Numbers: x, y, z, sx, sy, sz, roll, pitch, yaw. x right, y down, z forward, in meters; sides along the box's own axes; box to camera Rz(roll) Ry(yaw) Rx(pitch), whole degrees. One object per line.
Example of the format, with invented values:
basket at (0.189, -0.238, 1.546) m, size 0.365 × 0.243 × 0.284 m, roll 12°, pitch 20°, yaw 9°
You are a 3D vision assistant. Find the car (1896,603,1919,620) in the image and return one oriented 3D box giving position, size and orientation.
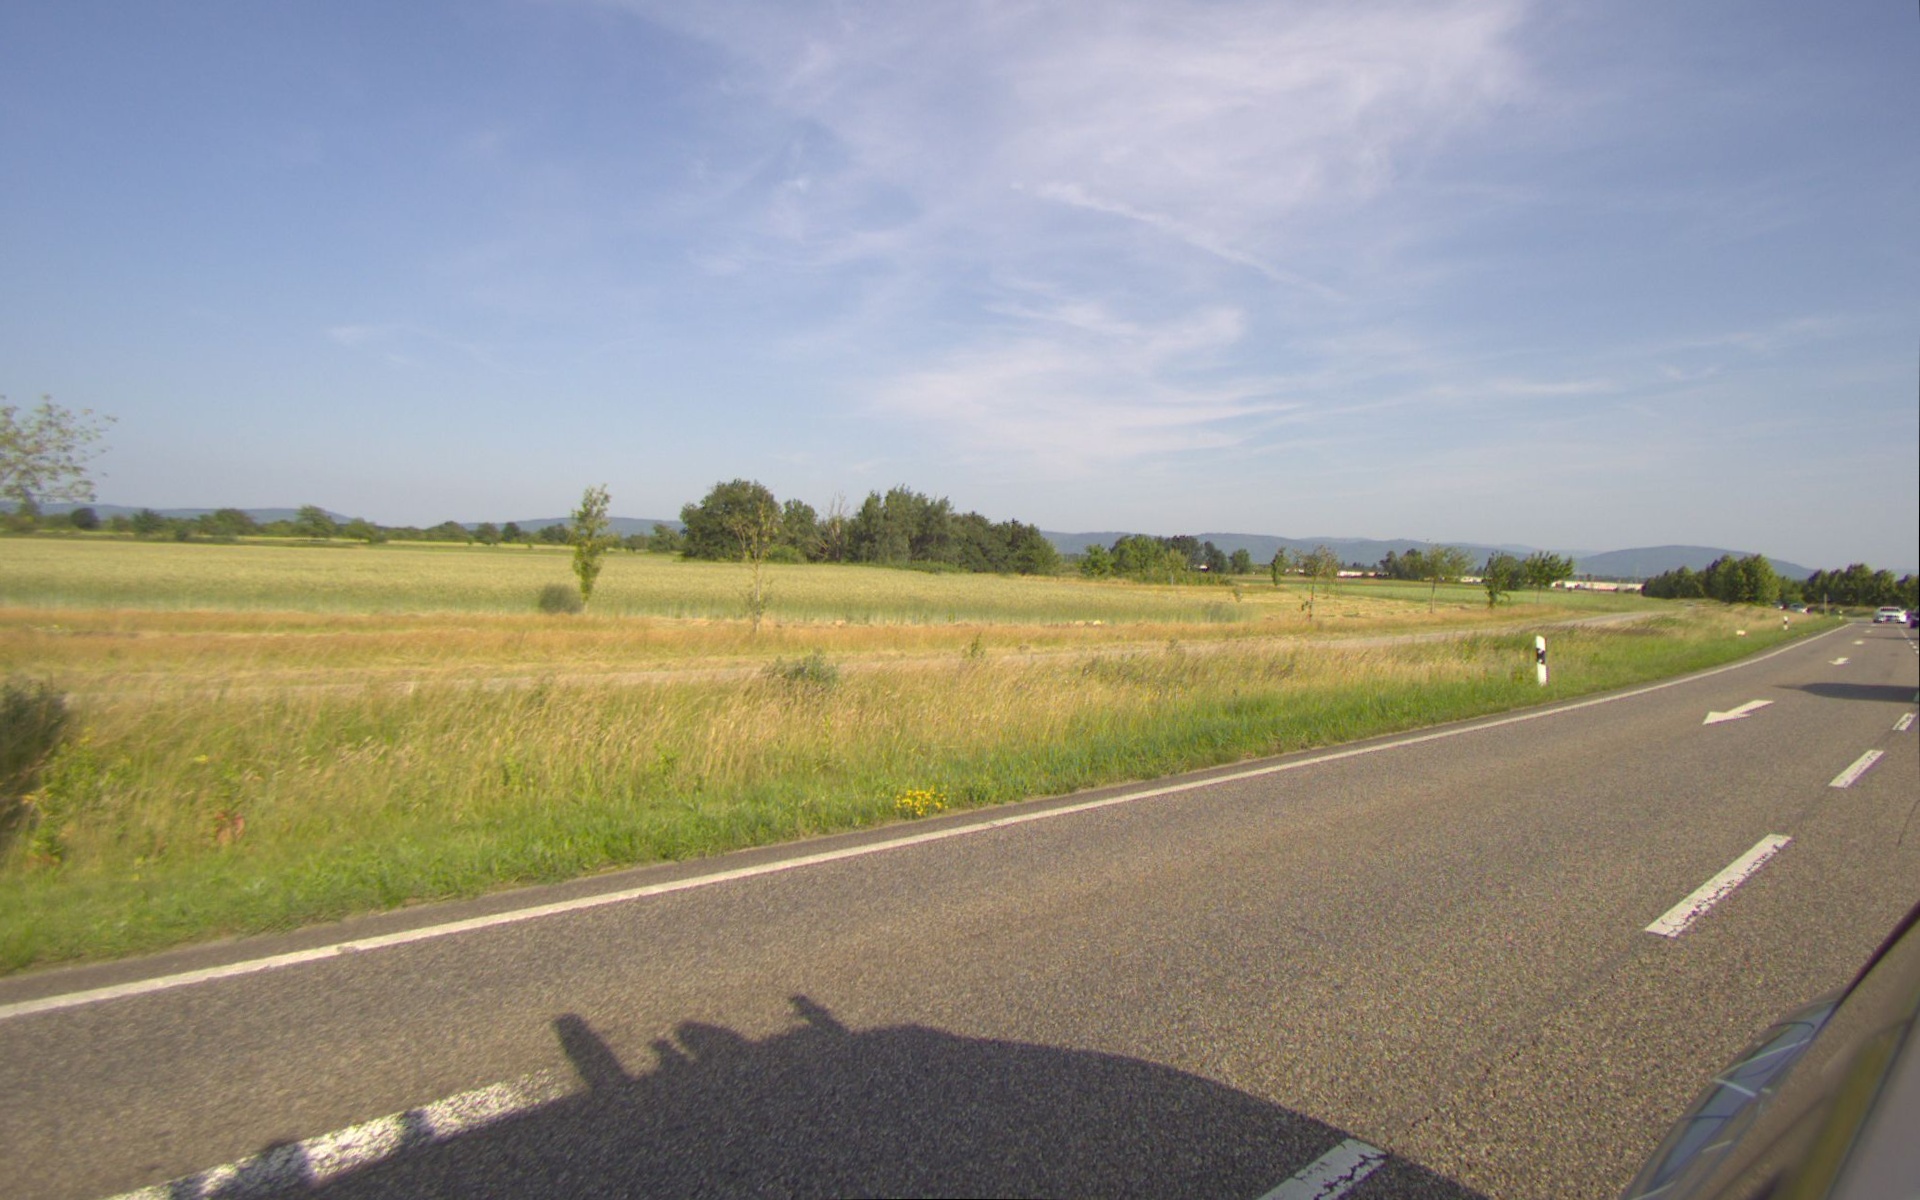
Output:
car at (83.132, 0.966, 88.556) m, size 3.969 × 1.417 × 1.554 m, roll 0°, pitch 1°, yaw -44°
